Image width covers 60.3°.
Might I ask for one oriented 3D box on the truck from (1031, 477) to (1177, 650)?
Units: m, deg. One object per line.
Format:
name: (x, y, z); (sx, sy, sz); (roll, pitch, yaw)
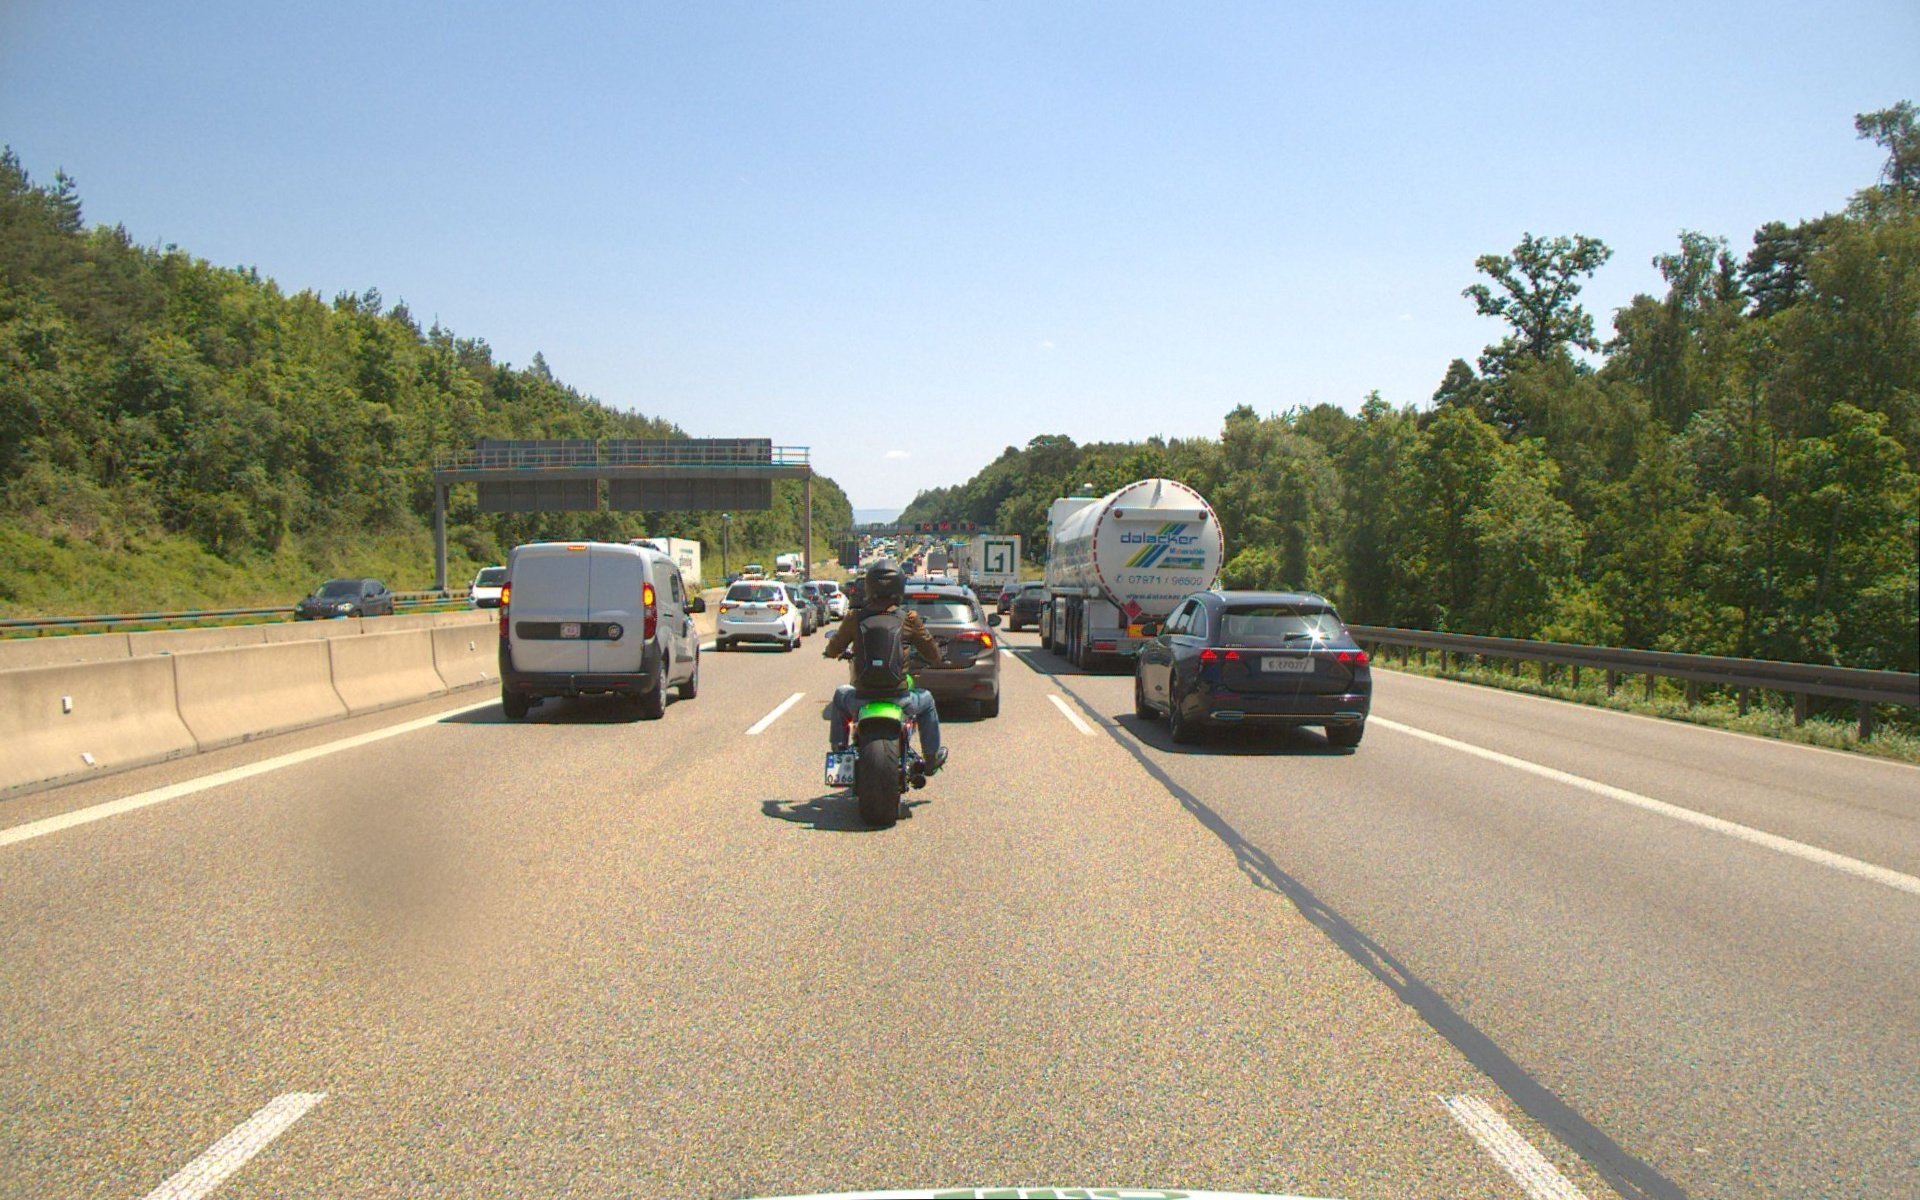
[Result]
truck: (3.292, -0.777, 39.402); (2.770, 3.735, 6.428); (1, 0, -1)

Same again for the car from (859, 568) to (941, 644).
car: (-1.500, 0.161, 41.784); (1.953, 1.806, 3.998); (1, 0, -2)

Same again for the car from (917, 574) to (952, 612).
car: (-1.432, -0.393, 92.516); (1.953, 2.049, 3.999); (0, 0, -1)

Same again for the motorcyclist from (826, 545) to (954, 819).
motorcyclist: (-0.448, 0.519, 10.942); (0.782, 1.717, 1.016); (1, -1, -1)

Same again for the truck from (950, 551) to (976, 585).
truck: (0.217, -2.094, 108.781); (1.558, 2.148, 3.752); (1, 0, 2)

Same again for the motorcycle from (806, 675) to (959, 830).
motorcycle: (-0.485, 0.977, 11.169); (0.917, 0.807, 2.298); (1, 0, -1)

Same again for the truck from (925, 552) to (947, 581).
truck: (-2.951, -4.148, 206.017); (2.641, 3.465, 10.476); (0, 0, -1)

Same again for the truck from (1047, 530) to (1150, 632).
truck: (4.347, -0.610, 53.448); (2.340, 3.031, 8.250); (1, 1, -2)

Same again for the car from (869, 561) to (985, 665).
car: (-0.623, 0.235, 30.210); (1.953, 1.741, 3.998); (1, 0, -2)

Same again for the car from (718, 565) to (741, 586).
car: (-24.079, -2.557, 172.855); (1.953, 2.049, 3.999); (1, 0, -1)

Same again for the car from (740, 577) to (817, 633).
car: (-5.107, 0.157, 46.913); (1.954, 1.490, 3.997); (1, 0, -3)

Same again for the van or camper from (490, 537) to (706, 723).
van or camper: (-4.118, 0.276, 19.520); (1.816, 1.913, 4.558); (1, 1, -4)

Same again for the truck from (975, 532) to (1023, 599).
truck: (2.431, -2.033, 101.727); (2.794, 3.888, 7.189); (1, 0, 2)

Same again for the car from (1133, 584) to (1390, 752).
car: (2.960, 0.623, 17.220); (1.755, 1.484, 4.623); (1, 0, -1)

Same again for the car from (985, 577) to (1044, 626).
car: (1.779, 0.054, 55.014); (1.740, 1.554, 3.999); (1, 0, -1)

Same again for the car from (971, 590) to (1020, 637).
car: (1.581, 0.608, 74.571); (1.953, 2.049, 3.998); (1, 0, -2)

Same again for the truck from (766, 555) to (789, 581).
truck: (-21.851, -3.824, 198.367); (2.133, 2.935, 6.740); (1, 0, -1)

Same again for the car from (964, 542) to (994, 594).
car: (1.490, -2.515, 133.816); (2.123, 3.961, 9.328); (1, 0, -1)

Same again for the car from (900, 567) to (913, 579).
car: (-7.416, -3.706, 229.960); (1.734, 1.583, 3.999); (0, 0, -1)

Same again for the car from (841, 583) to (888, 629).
car: (-4.375, 0.295, 76.296); (1.953, 2.049, 3.999); (1, 0, -1)

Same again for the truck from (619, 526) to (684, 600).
truck: (-19.834, -2.309, 106.719); (2.889, 4.560, 7.516); (1, 0, -2)

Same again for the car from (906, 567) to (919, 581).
car: (-7.440, -4.000, 256.897); (1.953, 2.049, 3.999); (0, 0, -1)

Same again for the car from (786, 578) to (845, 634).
car: (-5.505, 0.218, 63.388); (1.953, 2.049, 3.999); (1, 0, -1)

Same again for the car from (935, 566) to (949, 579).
car: (-2.501, -3.768, 227.830); (1.840, 1.646, 3.999); (0, 0, -1)

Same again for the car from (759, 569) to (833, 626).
car: (-5.207, -0.058, 53.065); (1.953, 1.713, 4.329); (1, 0, -1)

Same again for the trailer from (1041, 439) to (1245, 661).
trailer: (3.386, -0.821, 33.596); (2.770, 3.735, 10.730); (1, 0, -1)

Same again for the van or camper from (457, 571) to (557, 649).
van or camper: (-15.560, 0.349, 57.077); (1.953, 2.426, 4.808); (-4, 0, 0)

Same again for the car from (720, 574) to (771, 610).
car: (-9.288, -0.359, 71.773); (1.788, 1.521, 3.999); (0, 1, -2)

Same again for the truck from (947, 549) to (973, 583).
truck: (-0.071, -3.579, 176.011); (2.641, 3.465, 10.476); (0, 0, -1)

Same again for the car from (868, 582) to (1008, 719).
car: (-0.266, 0.534, 20.095); (1.509, 1.475, 3.999); (1, 0, -1)

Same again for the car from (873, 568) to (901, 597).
car: (-5.398, -1.288, 122.595); (1.953, 2.049, 3.999); (0, 0, -1)

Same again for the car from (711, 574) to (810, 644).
car: (-4.369, 0.207, 36.784); (1.740, 1.435, 3.999); (1, 0, -1)

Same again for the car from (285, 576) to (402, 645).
car: (-19.309, 0.320, 52.025); (2.071, 2.049, 4.476); (1, 0, -2)

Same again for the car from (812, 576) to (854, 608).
car: (-6.128, -0.384, 80.161); (1.728, 1.467, 3.999); (1, 0, 0)
